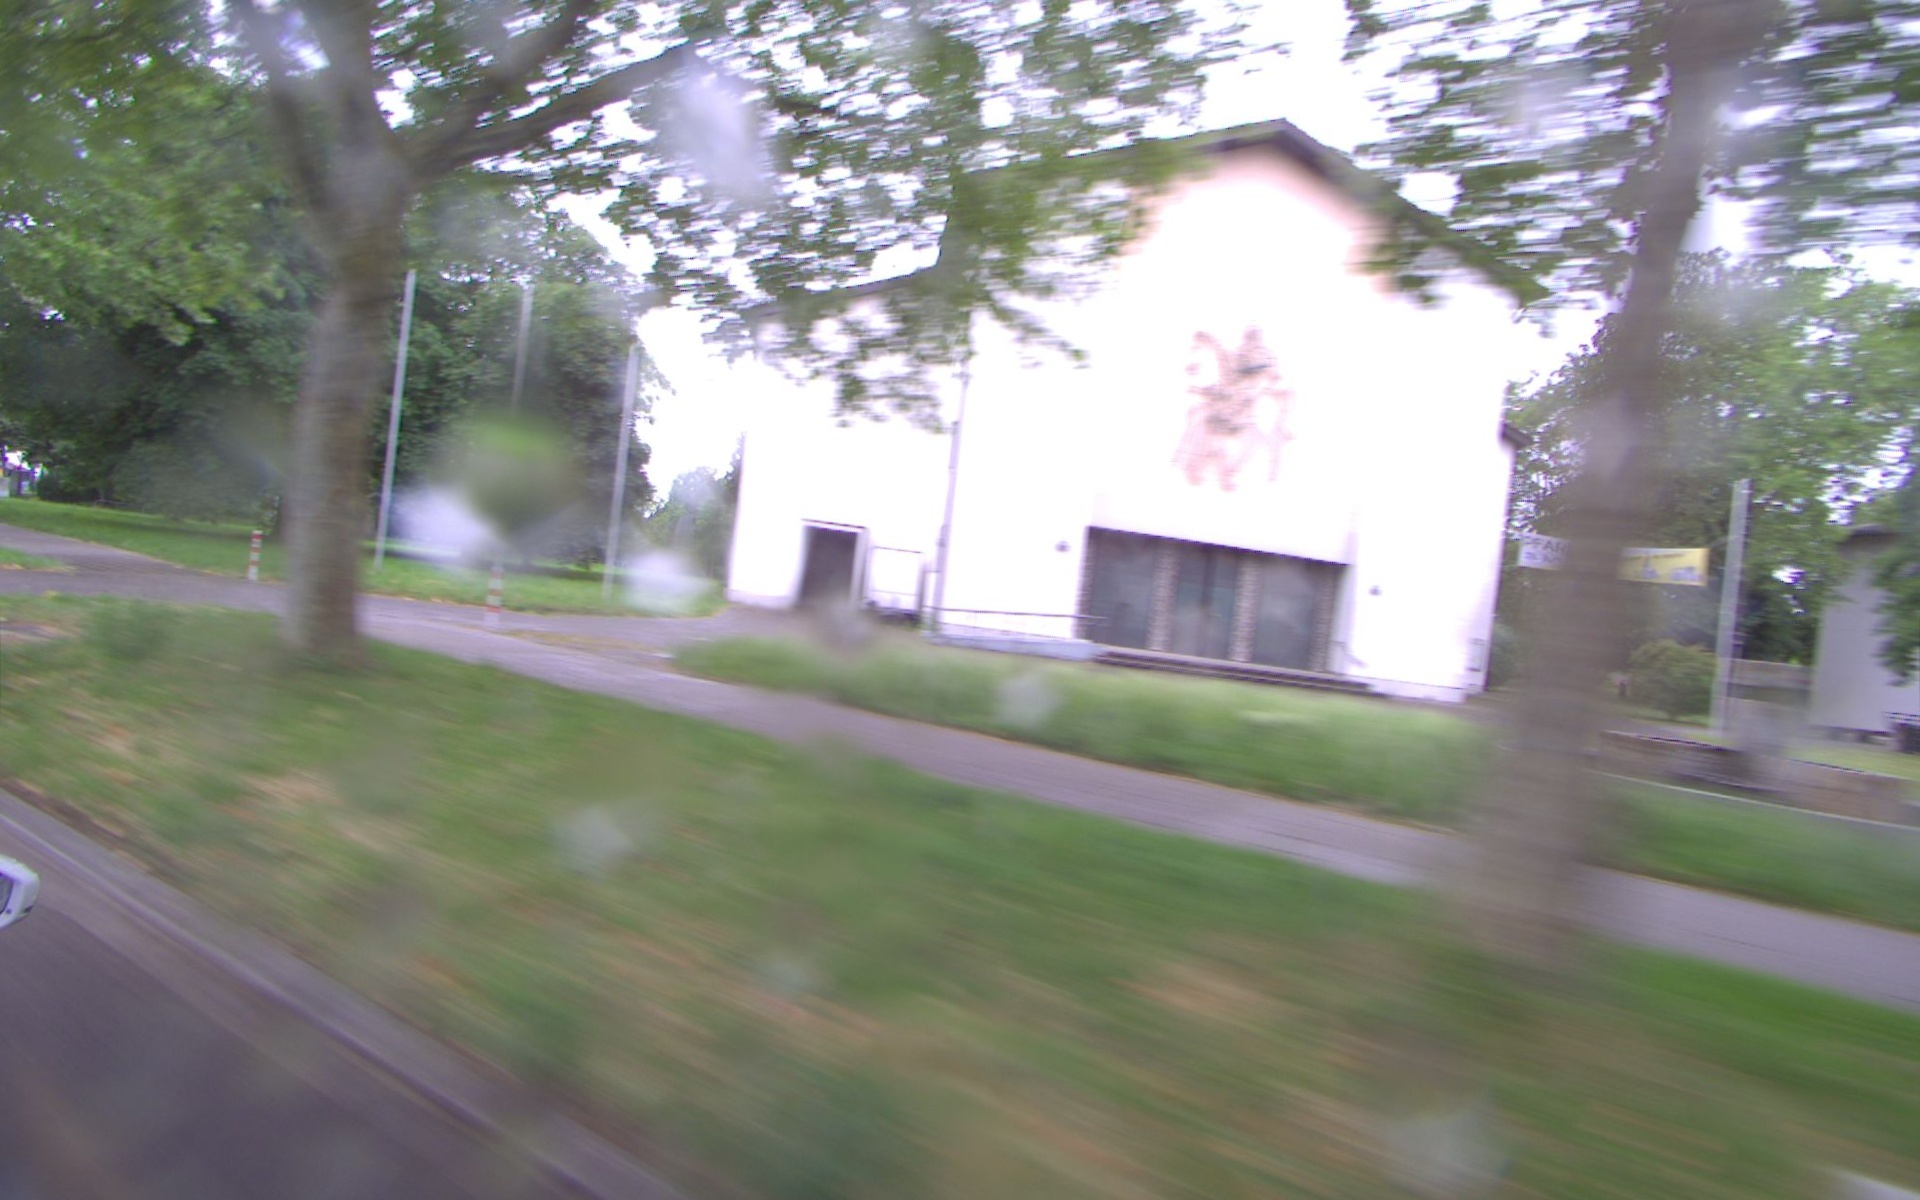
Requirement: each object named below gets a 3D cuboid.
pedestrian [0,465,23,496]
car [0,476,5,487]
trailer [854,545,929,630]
[{"bbox_3d":[-57.187,-7.214,60.574,1.019,1.716,0.851,8,2,38],"label":"pedestrian"},{"bbox_3d":[-132.611,-16.412,136.646,3.717,1.460,1.750,7,1,-27],"label":"car"},{"bbox_3d":[-2.257,-0.416,32.058,1.859,2.338,4.013,7,1,-8],"label":"trailer"}]
